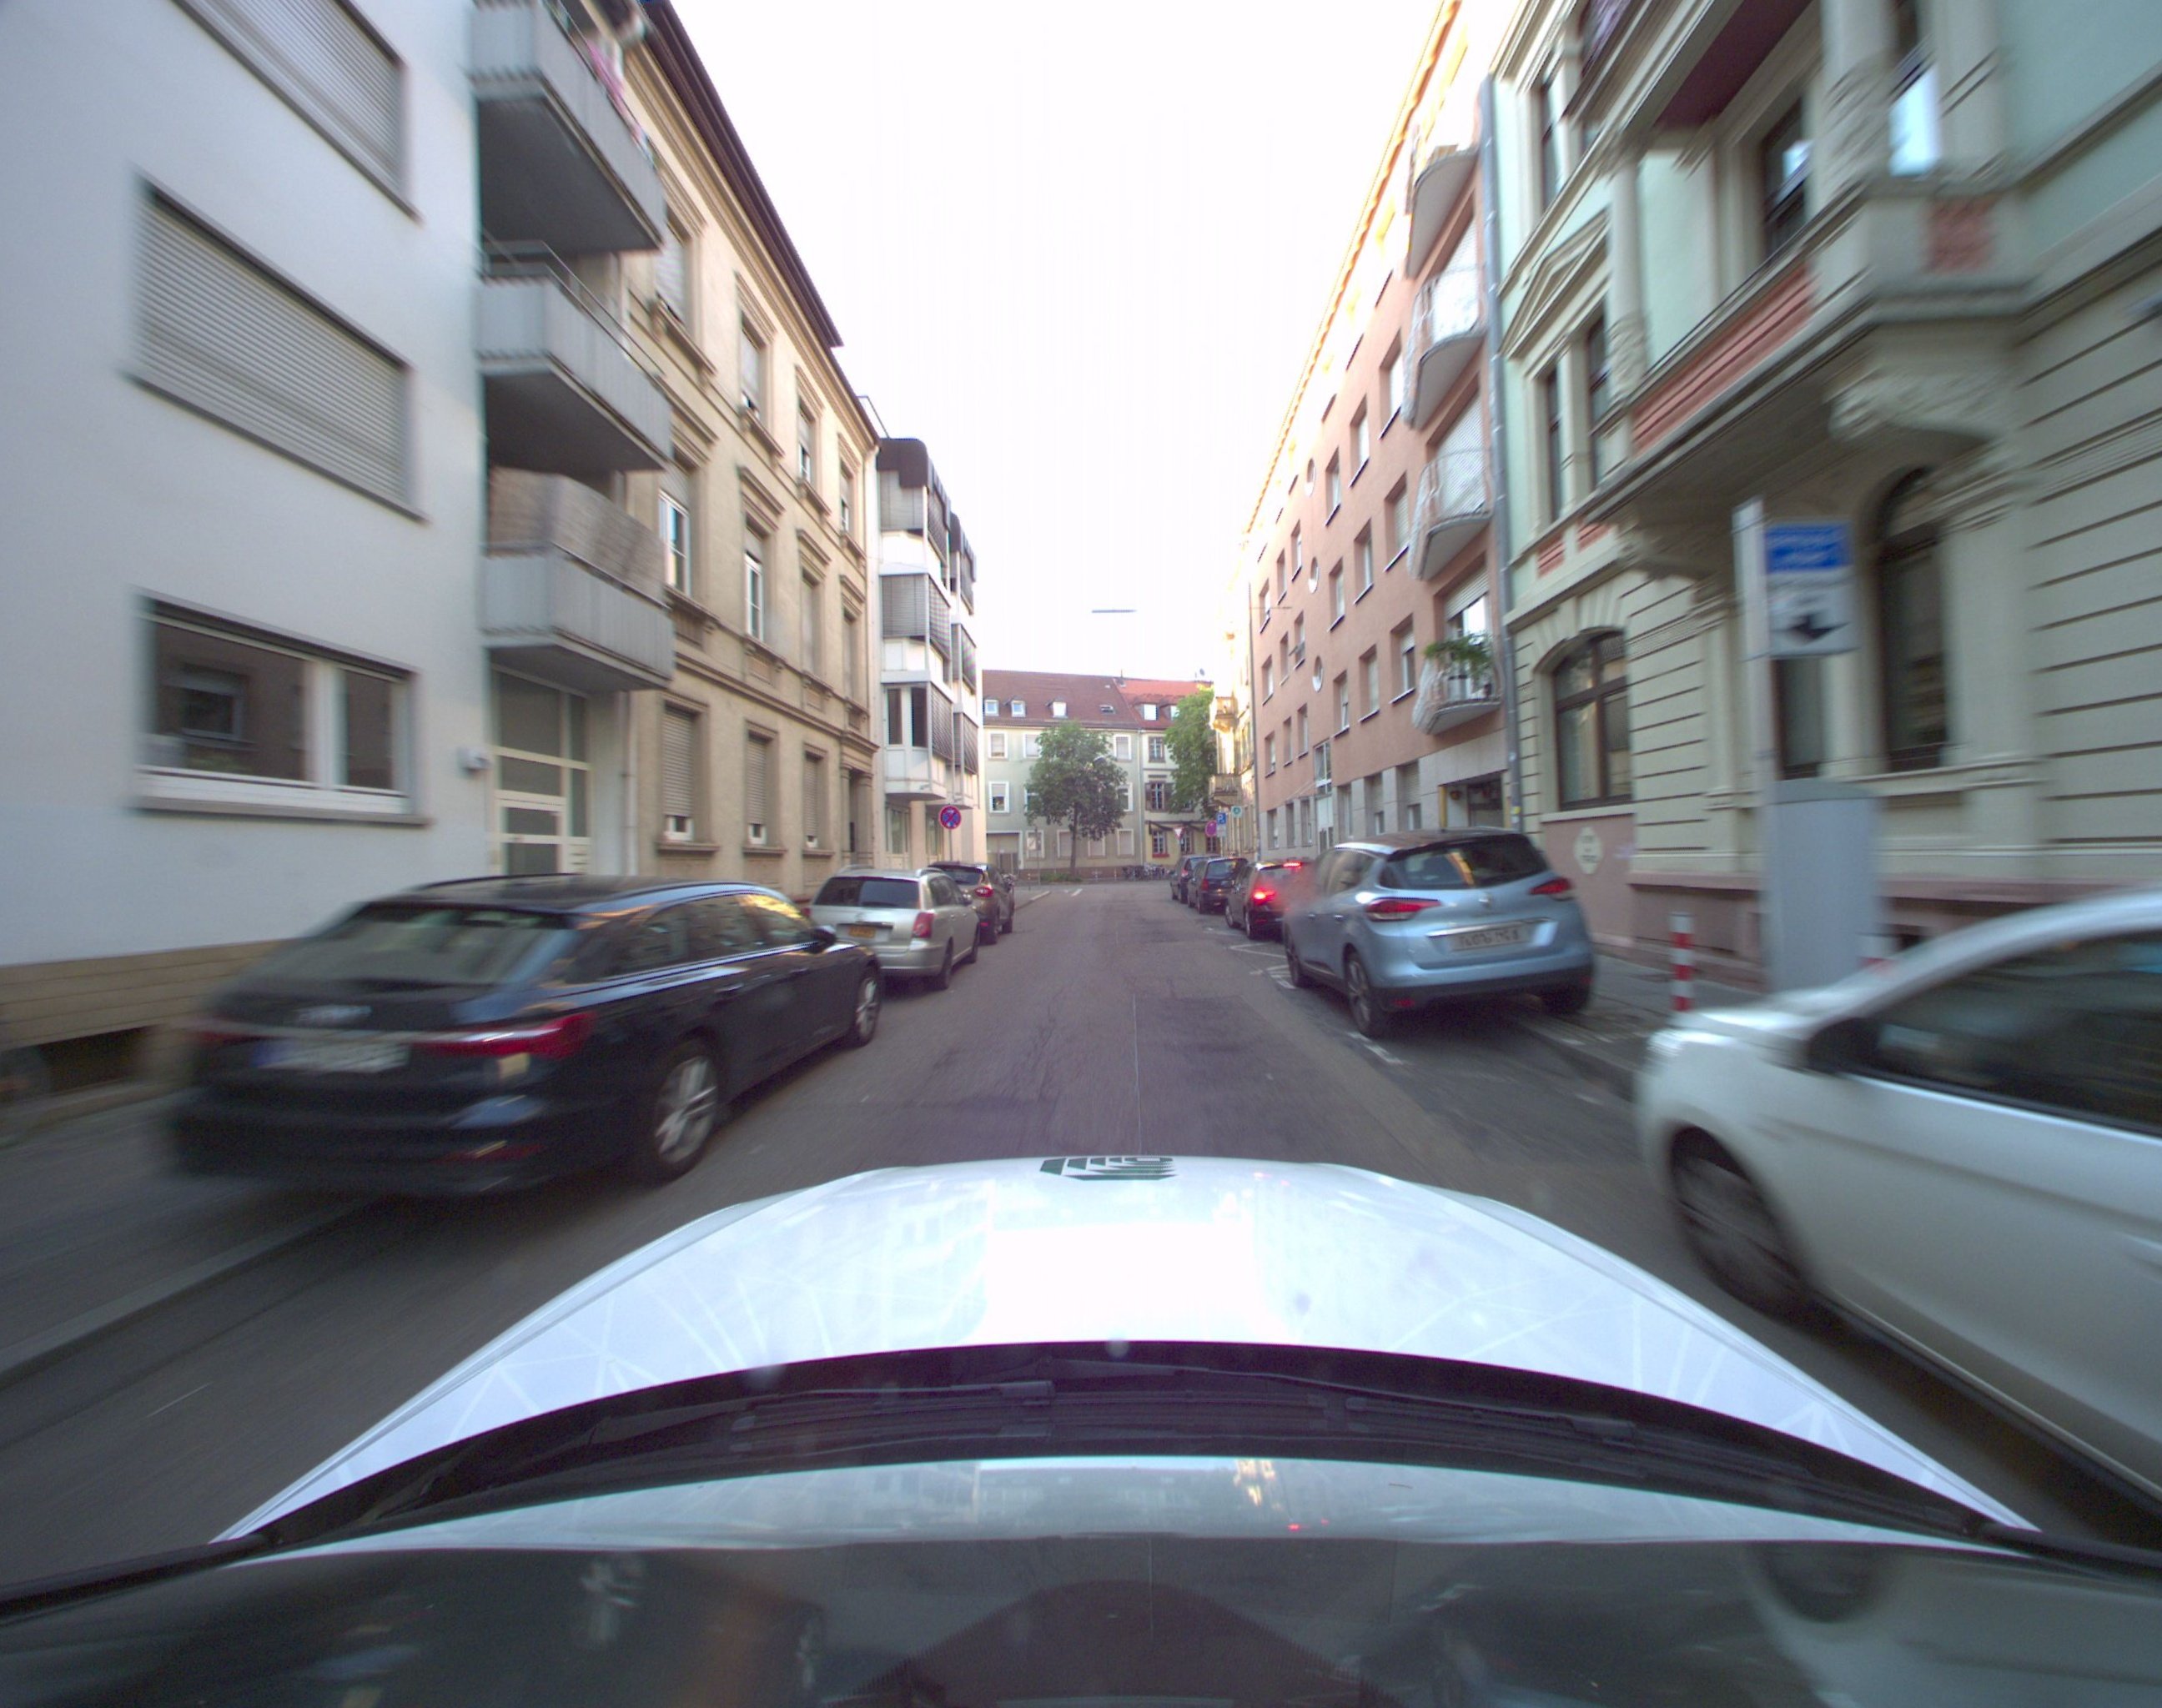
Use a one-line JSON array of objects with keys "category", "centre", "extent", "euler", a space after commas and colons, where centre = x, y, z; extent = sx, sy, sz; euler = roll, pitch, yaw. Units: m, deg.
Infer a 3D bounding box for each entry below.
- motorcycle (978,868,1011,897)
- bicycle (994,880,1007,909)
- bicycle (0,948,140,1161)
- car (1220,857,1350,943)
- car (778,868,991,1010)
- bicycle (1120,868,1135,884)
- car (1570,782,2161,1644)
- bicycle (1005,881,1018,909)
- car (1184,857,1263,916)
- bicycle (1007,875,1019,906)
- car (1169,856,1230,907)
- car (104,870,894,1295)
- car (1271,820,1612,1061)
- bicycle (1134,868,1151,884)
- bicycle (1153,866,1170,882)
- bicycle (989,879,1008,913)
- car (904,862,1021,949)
[{"category": "motorcycle", "centre": [-4.706, 1.549, 44.394], "extent": [0.673, 1.555, 2.137], "euler": [-1, -1, -40]}, {"category": "bicycle", "centre": [-2.857, 1.430, 28.983], "extent": [0.306, 0.932, 1.812], "euler": [-1, -1, -1]}, {"category": "bicycle", "centre": [-5.625, 1.051, 3.989], "extent": [0.291, 1.009, 1.542], "euler": [-1, -1, -2]}, {"category": "car", "centre": [3.904, 0.828, 16.247], "extent": [1.683, 1.458, 4.134], "euler": [-2, -1, 2]}, {"category": "car", "centre": [-2.454, 0.991, 11.364], "extent": [1.784, 1.539, 4.434], "euler": [-1, -1, 1]}, {"category": "bicycle", "centre": [3.452, 1.664, 60.992], "extent": [0.446, 1.145, 2.031], "euler": [-2, -1, -16]}, {"category": "car", "centre": [2.748, 0.641, 1.547], "extent": [1.564, 1.579, 3.592], "euler": [-2, -1, 2]}, {"category": "bicycle", "centre": [-2.504, 1.462, 29.305], "extent": [0.306, 0.932, 1.812], "euler": [-1, -1, -1]}, {"category": "car", "centre": [4.030, 0.892, 23.582], "extent": [1.683, 1.514, 4.285], "euler": [-2, -1, 2]}, {"category": "bicycle", "centre": [-2.633, 1.387, 31.434], "extent": [0.399, 1.102, 1.810], "euler": [-1, -1, -3]}, {"category": "car", "centre": [4.081, 0.919, 28.631], "extent": [1.683, 1.625, 4.057], "euler": [-2, -1, 2]}, {"category": "car", "centre": [-2.744, 0.917, 5.339], "extent": [1.783, 1.539, 4.496], "euler": [-2, -1, 2]}, {"category": "car", "centre": [3.141, 0.670, 8.089], "extent": [1.683, 1.741, 4.111], "euler": [-2, -1, 2]}, {"category": "bicycle", "centre": [4.469, 1.621, 59.404], "extent": [0.446, 1.145, 2.029], "euler": [-2, -1, -19]}, {"category": "bicycle", "centre": [6.138, 1.526, 61.988], "extent": [0.421, 1.145, 2.028], "euler": [-1, -1, -20]}, {"category": "bicycle", "centre": [-2.729, 1.368, 27.056], "extent": [0.305, 1.042, 1.815], "euler": [-3, -1, 4]}, {"category": "car", "centre": [-2.368, 0.991, 17.296], "extent": [1.784, 1.576, 4.071], "euler": [-1, -1, 1]}]
